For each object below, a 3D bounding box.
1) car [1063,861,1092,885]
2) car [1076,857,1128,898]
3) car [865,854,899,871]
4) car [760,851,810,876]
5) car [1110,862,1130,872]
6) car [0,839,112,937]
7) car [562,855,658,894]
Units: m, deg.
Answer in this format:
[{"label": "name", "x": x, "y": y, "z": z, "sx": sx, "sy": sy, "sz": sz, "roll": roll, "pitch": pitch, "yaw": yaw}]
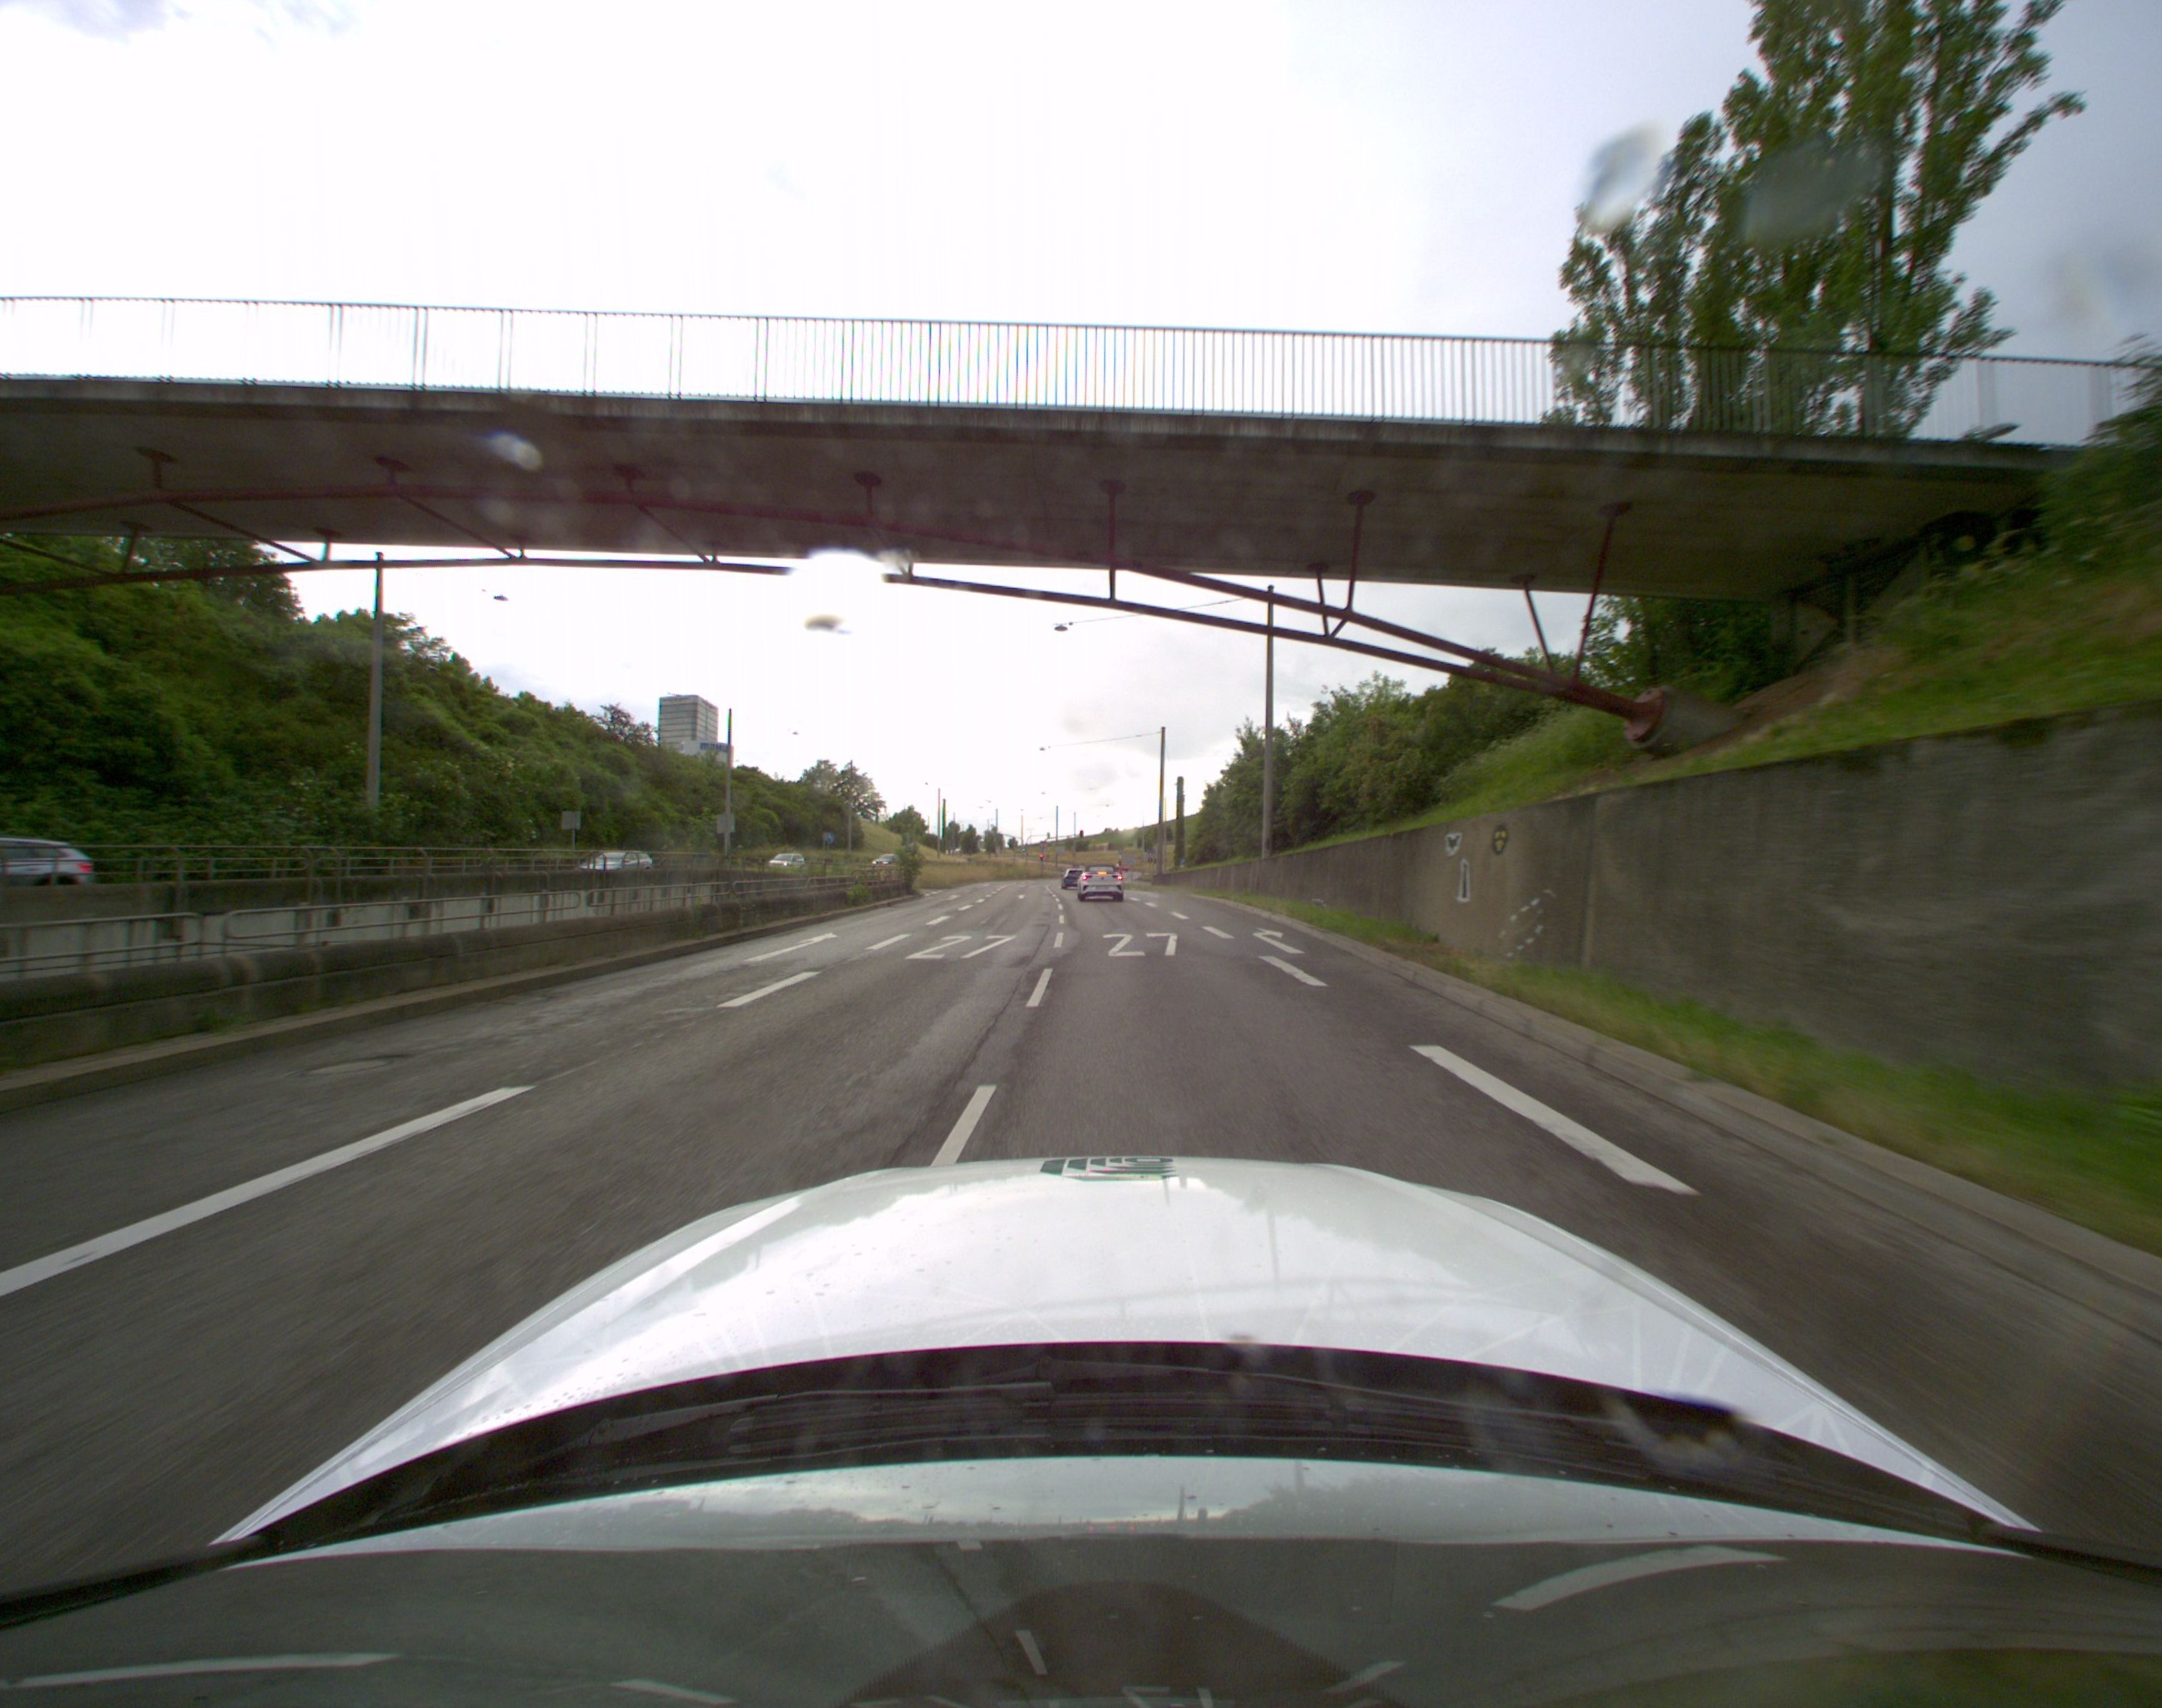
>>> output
[{"label": "car", "x": -0.214, "y": 1.385, "z": 58.055, "sx": 1.919, "sy": 1.599, "sz": 4.061, "roll": 1, "pitch": -2, "yaw": 1}, {"label": "car", "x": 0.819, "y": 0.975, "z": 34.241, "sx": 1.990, "sy": 1.579, "sz": 4.124, "roll": 1, "pitch": -2, "yaw": 0}, {"label": "car", "x": -20.246, "y": 0.906, "z": 83.001, "sx": 1.986, "sy": 1.637, "sz": 4.724, "roll": 2, "pitch": -1, "yaw": 2}, {"label": "car", "x": -22.687, "y": 0.728, "z": 62.578, "sx": 1.986, "sy": 1.835, "sz": 4.631, "roll": 0, "pitch": -1, "yaw": 2}, {"label": "car", "x": 7.470, "y": 2.473, "z": 156.645, "sx": 2.005, "sy": 1.712, "sz": 4.522, "roll": 0, "pitch": 0, "yaw": -28}, {"label": "car", "x": -21.958, "y": 0.690, "z": 15.454, "sx": 1.666, "sy": 1.916, "sz": 4.557, "roll": -2, "pitch": 0, "yaw": -1}, {"label": "car", "x": -22.648, "y": 0.961, "z": 39.394, "sx": 1.989, "sy": 1.721, "sz": 4.699, "roll": -2, "pitch": 0, "yaw": -3}]
